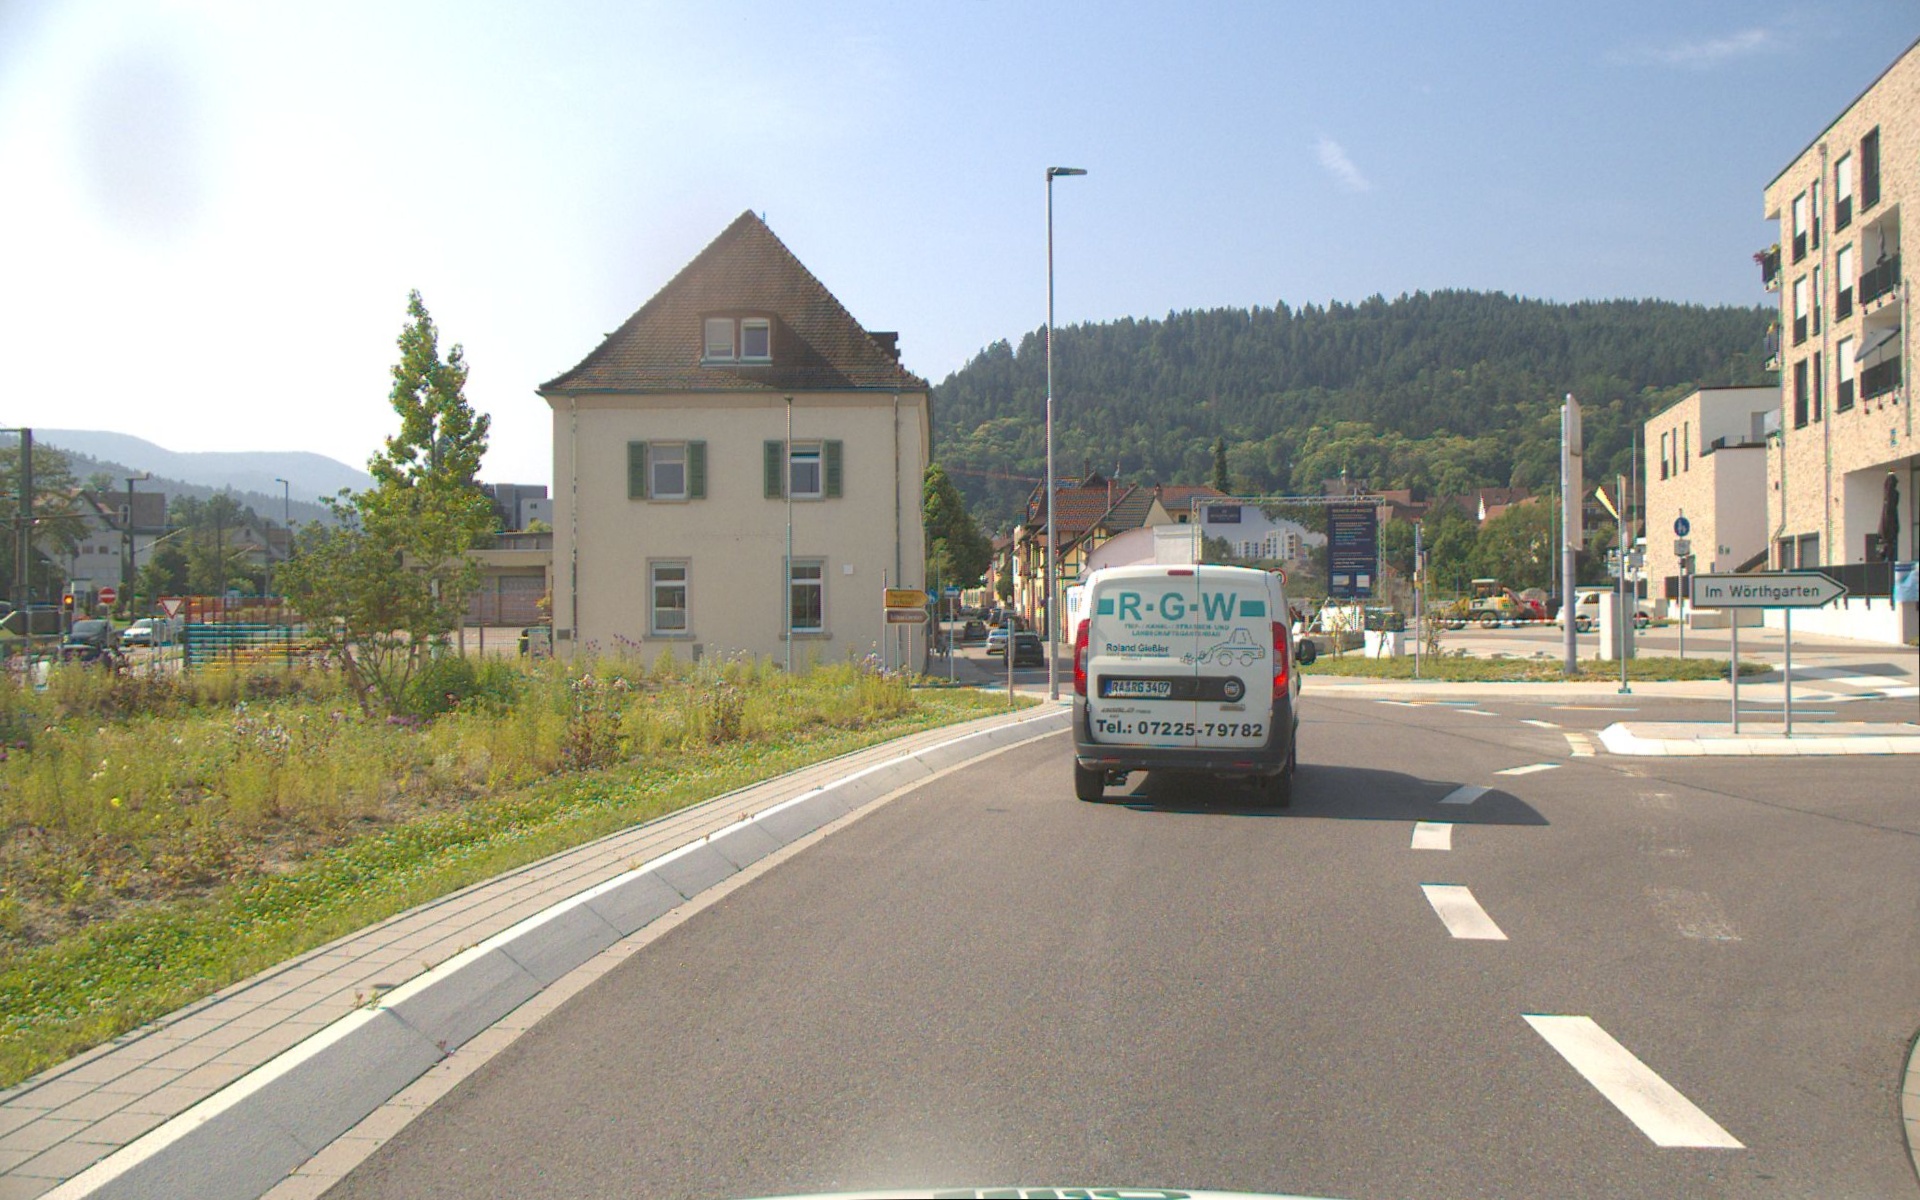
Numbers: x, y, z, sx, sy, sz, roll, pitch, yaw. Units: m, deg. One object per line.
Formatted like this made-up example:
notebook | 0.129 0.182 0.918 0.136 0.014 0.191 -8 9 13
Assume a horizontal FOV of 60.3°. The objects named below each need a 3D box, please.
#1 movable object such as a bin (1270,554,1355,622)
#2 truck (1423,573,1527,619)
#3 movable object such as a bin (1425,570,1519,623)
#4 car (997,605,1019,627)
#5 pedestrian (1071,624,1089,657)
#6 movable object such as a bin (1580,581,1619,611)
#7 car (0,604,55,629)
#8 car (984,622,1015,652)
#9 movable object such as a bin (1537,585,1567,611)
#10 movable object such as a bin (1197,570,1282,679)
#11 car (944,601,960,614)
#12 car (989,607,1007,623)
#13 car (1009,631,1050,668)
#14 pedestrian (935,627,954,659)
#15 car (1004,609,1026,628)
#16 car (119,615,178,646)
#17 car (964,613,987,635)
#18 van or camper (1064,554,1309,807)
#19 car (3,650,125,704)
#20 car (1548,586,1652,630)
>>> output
movable object such as a bin | 20.054 -0.669 93.883 2.800 3.685 5.719 2 1 33
truck | 28.607 -0.195 91.810 5.209 2.305 2.217 -3 -1 25
movable object such as a bin | 27.428 -0.151 88.595 4.520 2.614 1.924 -3 -1 24
car | 4.590 1.558 158.967 1.833 2.049 3.999 0 0 -2
pedestrian | 6.299 2.111 86.947 0.870 1.712 0.718 1 -1 -1
movable object such as a bin | 32.503 -0.219 84.091 1.546 1.489 1.321 2 1 9
car | -57.666 1.019 100.974 3.921 1.422 1.708 1 1 -15
car | 2.346 2.180 99.107 1.773 1.624 3.927 1 0 0
movable object such as a bin | 31.255 -0.109 87.326 1.268 1.290 1.321 2 1 9
movable object such as a bin | 10.765 0.935 64.295 2.247 3.921 7.801 1 -1 3
car | -0.992 0.936 208.049 1.774 1.624 3.925 1 0 -3
car | 4.000 1.571 175.409 1.636 1.534 3.997 -2 0 -3
car | 3.412 2.421 81.986 1.774 1.624 3.926 1 0 -1
pedestrian | -0.805 2.206 85.368 0.938 1.660 0.758 0 -1 -2
car | 4.950 1.665 148.898 1.774 1.624 3.926 1 0 -1
car | -42.698 1.587 87.077 1.677 1.422 3.992 1 1 -9
car | 1.234 1.918 131.452 1.773 1.624 3.927 1 0 0
van or camper | 2.124 0.627 14.503 1.789 1.877 4.191 0 -1 12
car | -27.865 2.368 51.430 3.917 1.422 1.709 2 1 34
car | 24.688 0.311 63.830 3.336 1.521 1.593 -2 -2 -2
